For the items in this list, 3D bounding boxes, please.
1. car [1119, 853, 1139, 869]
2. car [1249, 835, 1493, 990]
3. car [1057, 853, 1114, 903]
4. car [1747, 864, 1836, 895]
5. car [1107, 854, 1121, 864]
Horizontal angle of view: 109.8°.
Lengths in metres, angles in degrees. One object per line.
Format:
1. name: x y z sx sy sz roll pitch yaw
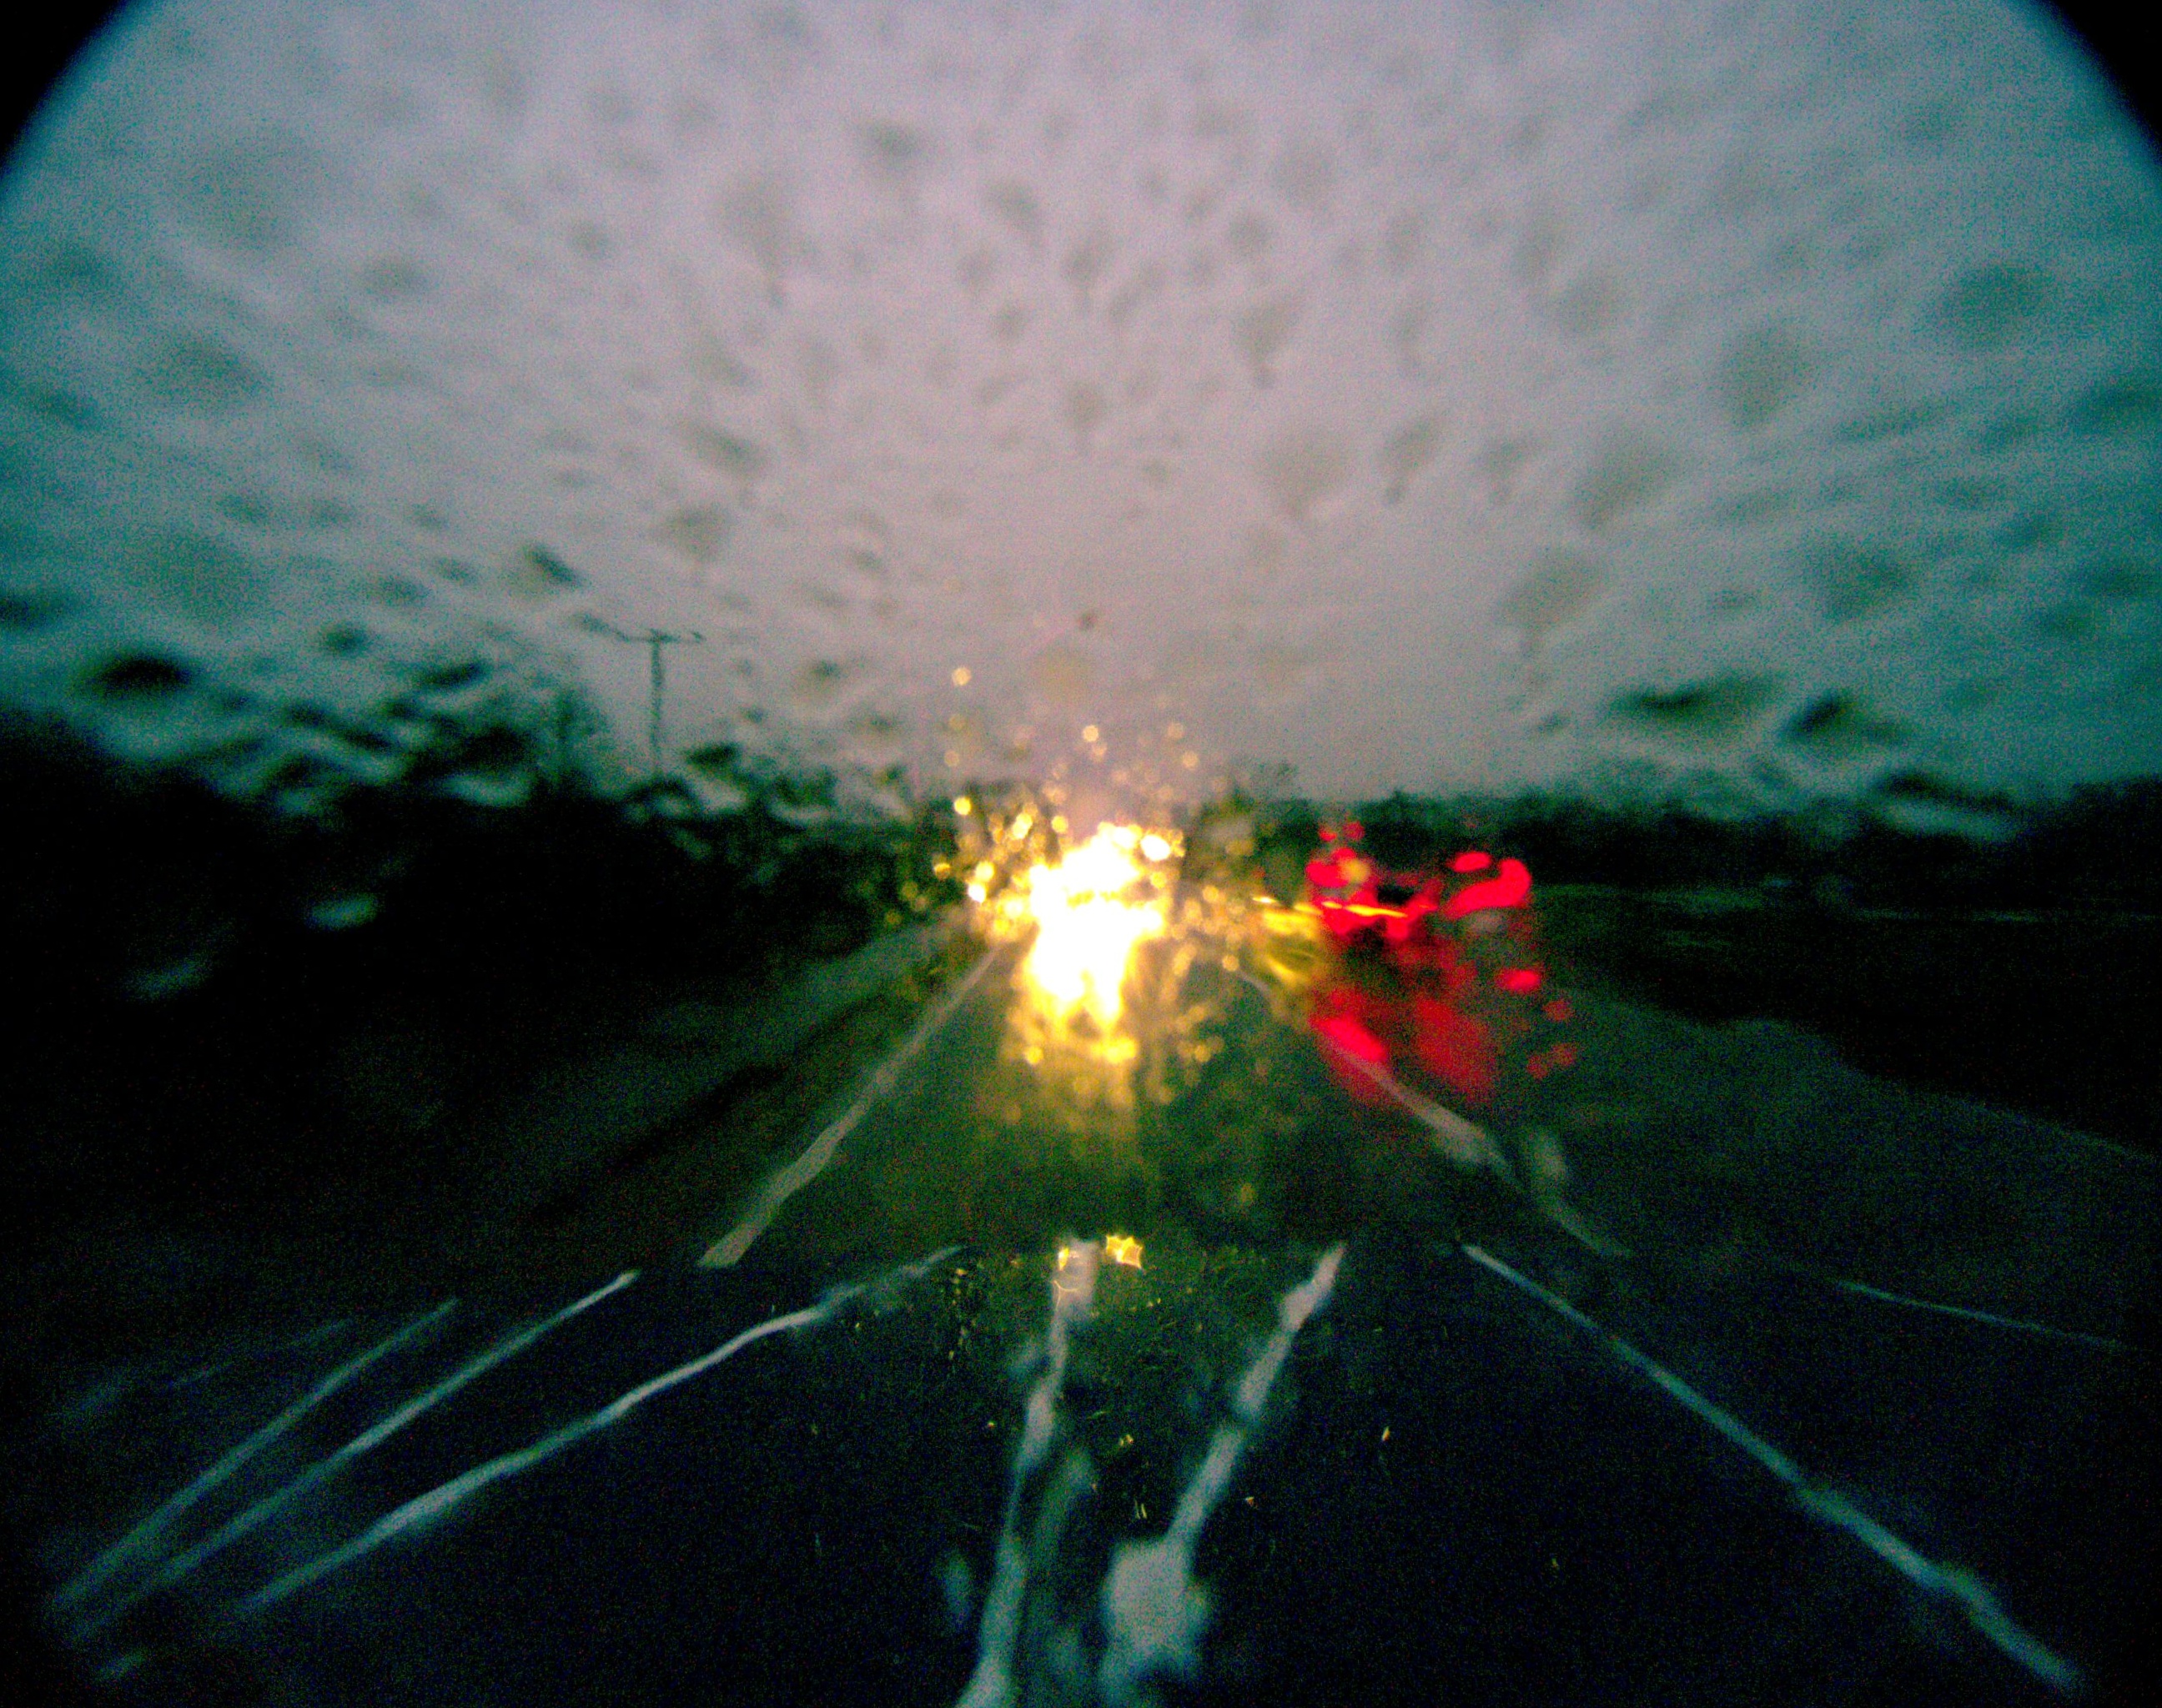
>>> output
1. car: 4.636 0.677 73.637 1.766 1.546 4.000 0 0 1
2. car: 3.906 0.681 11.171 1.829 1.796 4.493 1 0 0
3. car: 0.176 0.787 26.904 1.860 1.604 4.000 -1 0 1
4. car: 35.483 1.234 37.960 3.453 1.334 1.597 -2 1 -13
5. car: 5.177 0.761 119.398 1.860 1.508 4.515 1 0 -2
